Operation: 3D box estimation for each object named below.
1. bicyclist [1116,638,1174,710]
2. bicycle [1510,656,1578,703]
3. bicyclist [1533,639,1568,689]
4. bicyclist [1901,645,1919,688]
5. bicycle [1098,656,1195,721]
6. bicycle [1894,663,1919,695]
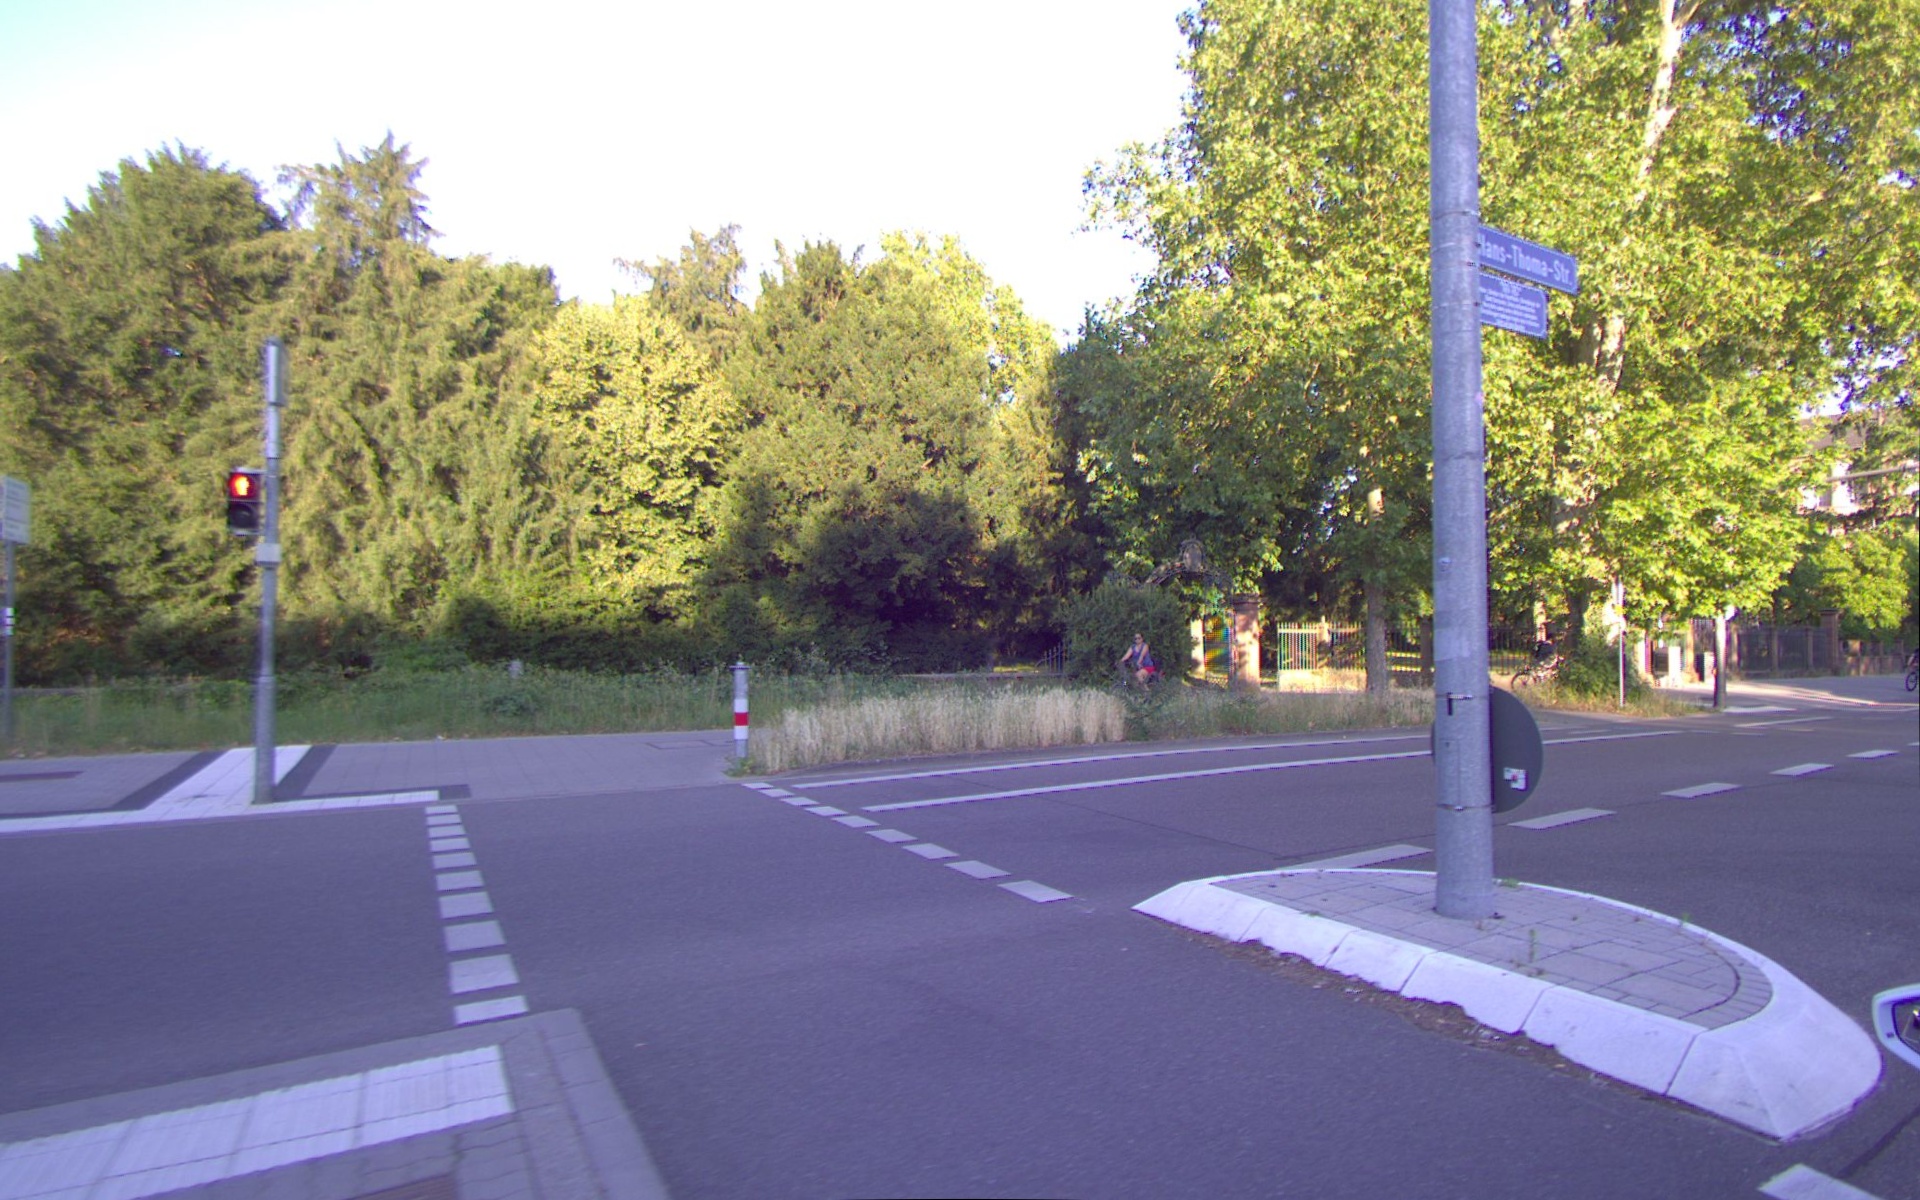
[{"bbox_3d":[3.797,1.501,20.662,0.882,1.446,0.785,1,-2,-31],"label":"bicyclist"},{"bbox_3d":[16.323,2.212,28.073,1.605,1.245,0.571,-1,-2,33],"label":"bicycle"},{"bbox_3d":[16.470,1.778,28.020,0.825,1.379,0.571,-1,-2,33],"label":"bicyclist"},{"bbox_3d":[32.735,2.264,34.144,0.932,1.450,0.851,1,-2,-30],"label":"bicyclist"},{"bbox_3d":[3.852,1.793,20.689,1.957,1.273,0.785,2,-2,-31],"label":"bicycle"},{"bbox_3d":[32.707,2.667,34.098,2.172,1.029,0.851,1,-2,-30],"label":"bicycle"}]
